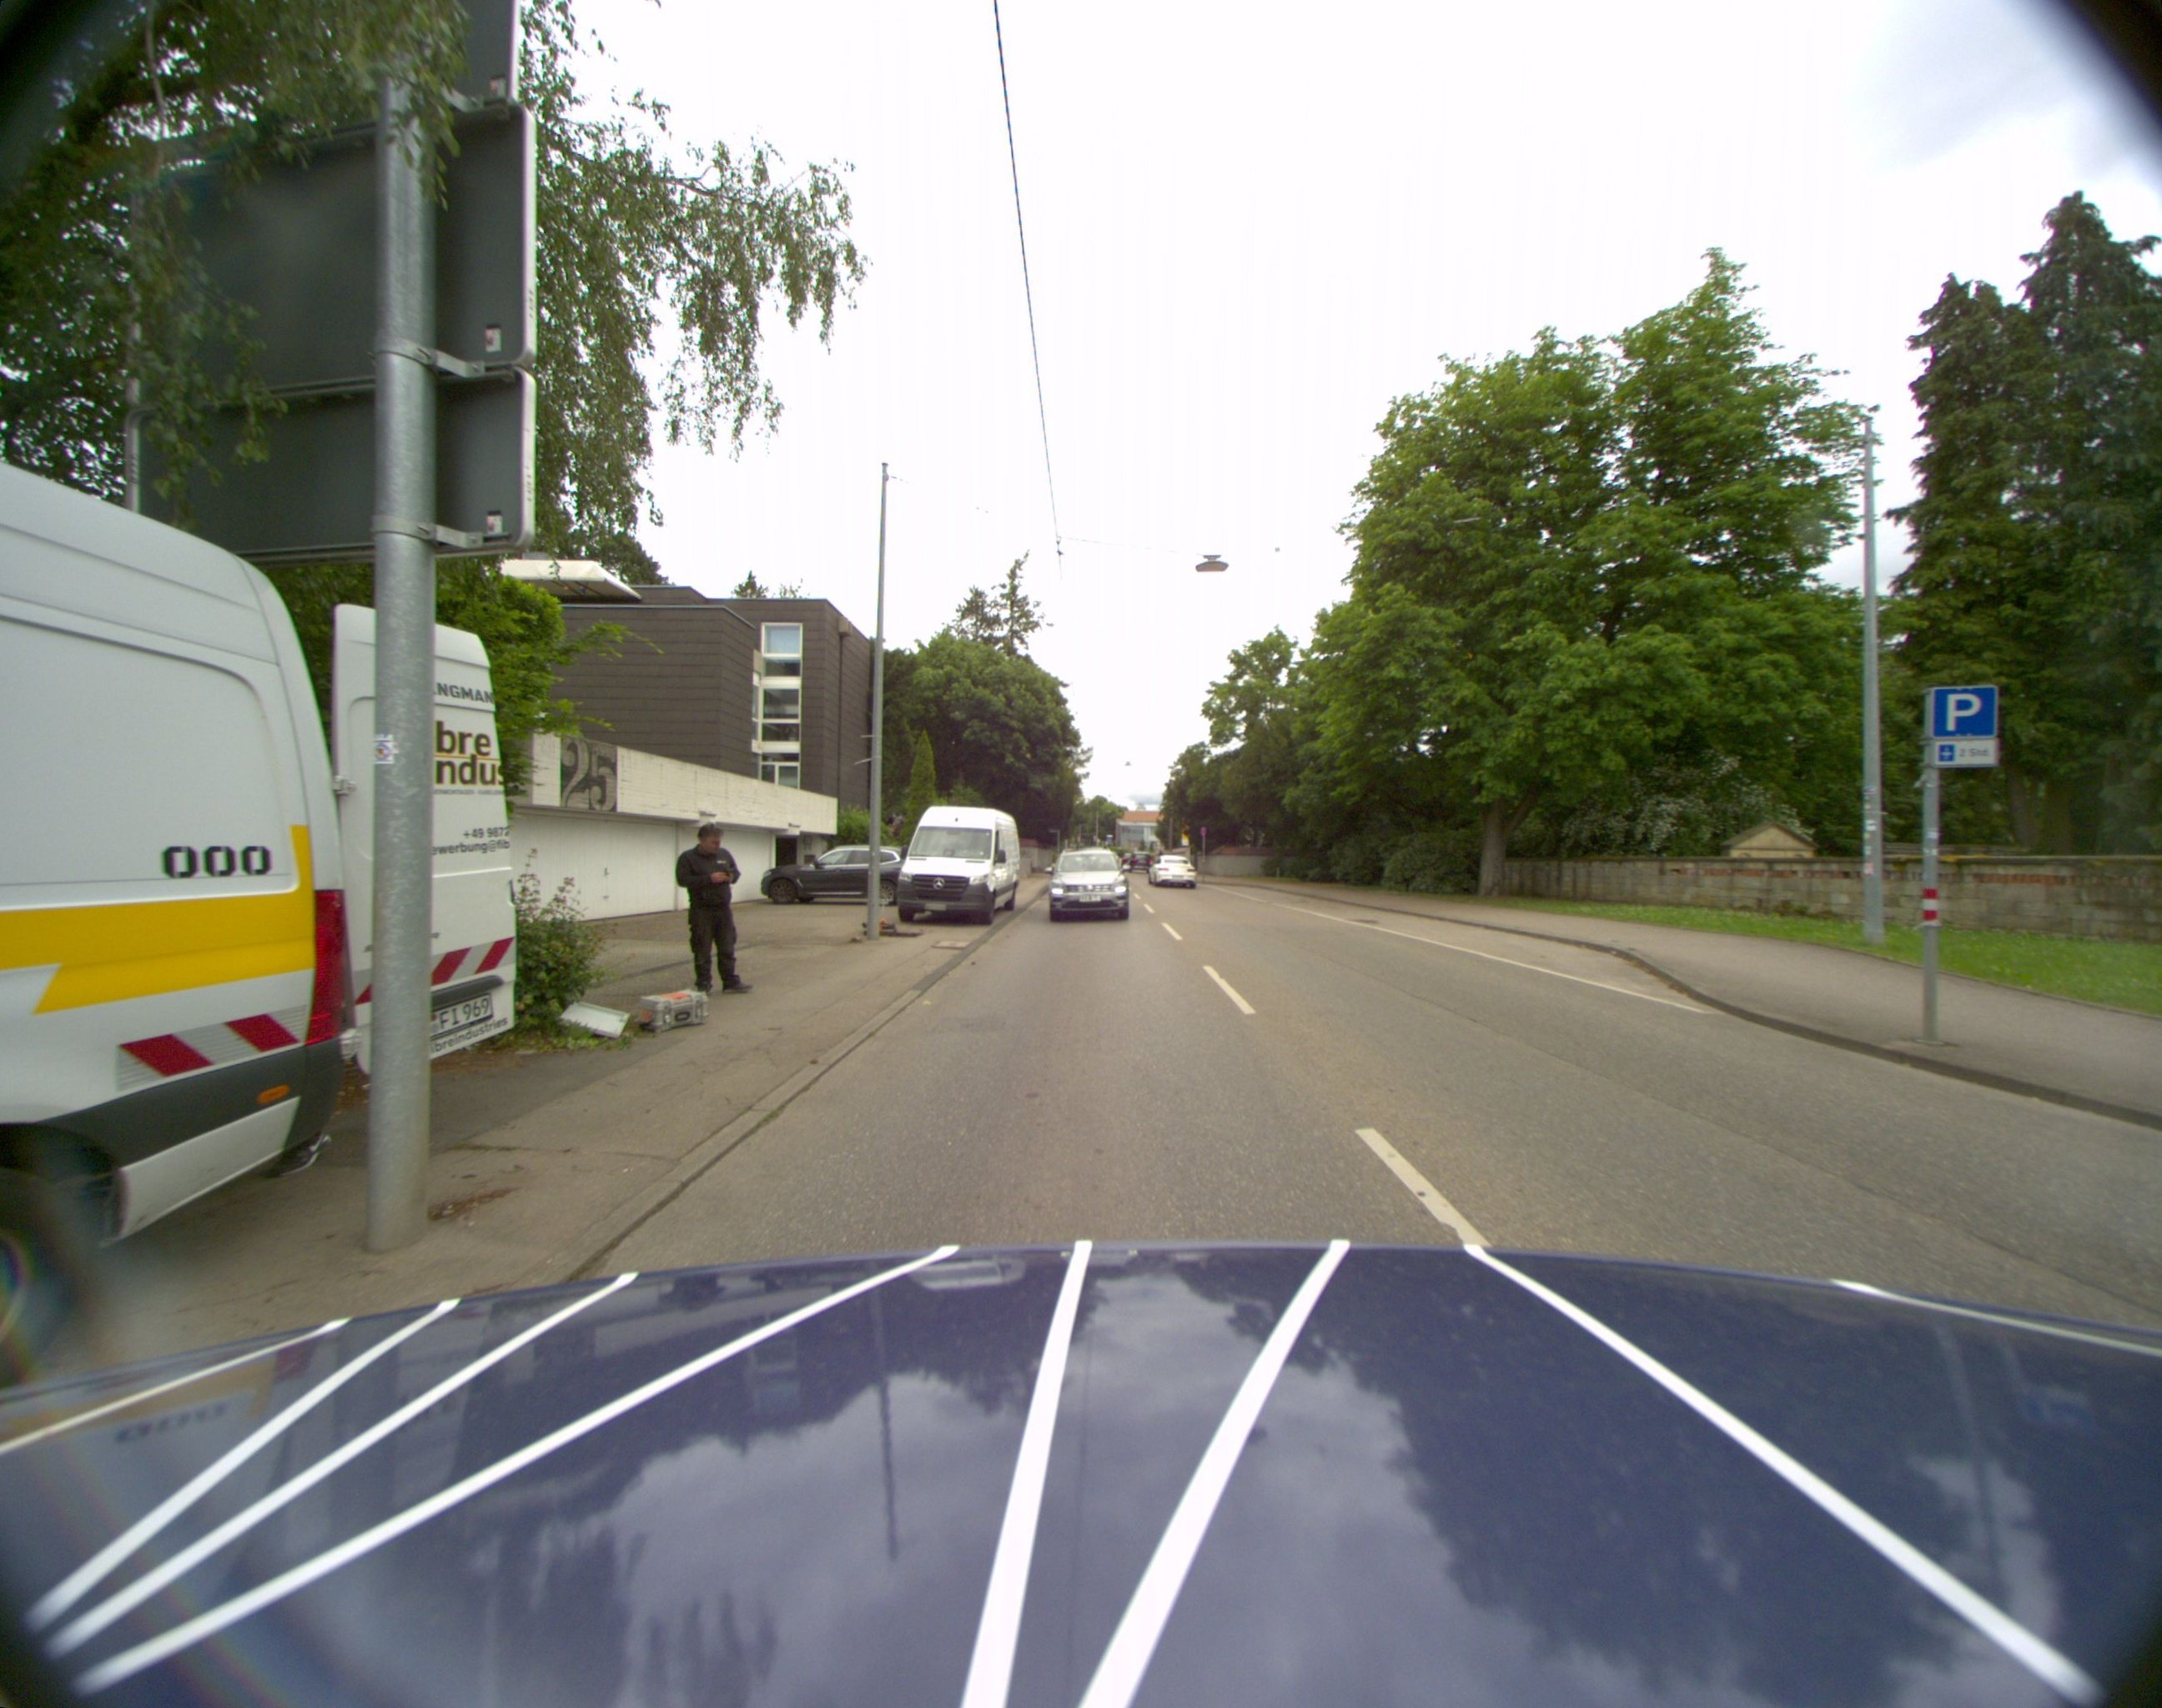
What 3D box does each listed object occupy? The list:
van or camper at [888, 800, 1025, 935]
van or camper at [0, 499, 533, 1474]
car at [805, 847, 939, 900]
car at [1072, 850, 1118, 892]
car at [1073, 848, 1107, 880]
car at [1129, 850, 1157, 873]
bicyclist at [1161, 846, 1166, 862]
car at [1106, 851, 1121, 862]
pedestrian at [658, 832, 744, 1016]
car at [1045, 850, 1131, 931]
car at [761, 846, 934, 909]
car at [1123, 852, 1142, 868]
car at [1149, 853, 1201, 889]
[{"bbox_3d":[-2.721,0.236,18.413,1.996,2.610,6.544,3,1,1],"label":"van or camper"},{"bbox_3d":[-3.868,0.336,0.449,2.346,2.480,6.600,3,1,-1],"label":"van or camper"},{"bbox_3d":[-6.872,0.624,25.199,3.909,1.642,1.745,1,1,5],"label":"car"},{"bbox_3d":[0.579,0.669,32.375,1.819,1.647,4.487,-1,1,1],"label":"car"},{"bbox_3d":[0.532,0.554,44.143,1.819,1.733,4.487,-1,1,1],"label":"car"},{"bbox_3d":[4.933,0.576,60.507,1.885,1.635,4.127,2,1,1],"label":"car"},{"bbox_3d":[8.882,0.018,81.826,0.489,1.674,0.588,-3,1,1],"label":"bicyclist"},{"bbox_3d":[4.479,0.292,106.136,1.761,1.395,4.413,2,1,-1],"label":"car"},{"bbox_3d":[-3.825,0.656,7.641,0.651,1.741,0.653,-1,2,-36],"label":"pedestrian"},{"bbox_3d":[0.188,0.778,18.619,1.819,1.690,4.718,-1,1,1],"label":"car"},{"bbox_3d":[-6.577,0.632,21.665,4.392,1.665,1.695,1,1,2],"label":"car"},{"bbox_3d":[5.149,0.566,76.811,1.705,1.475,4.000,2,1,1],"label":"car"},{"bbox_3d":[4.227,0.738,34.945,1.819,1.411,4.828,3,1,1],"label":"car"}]
